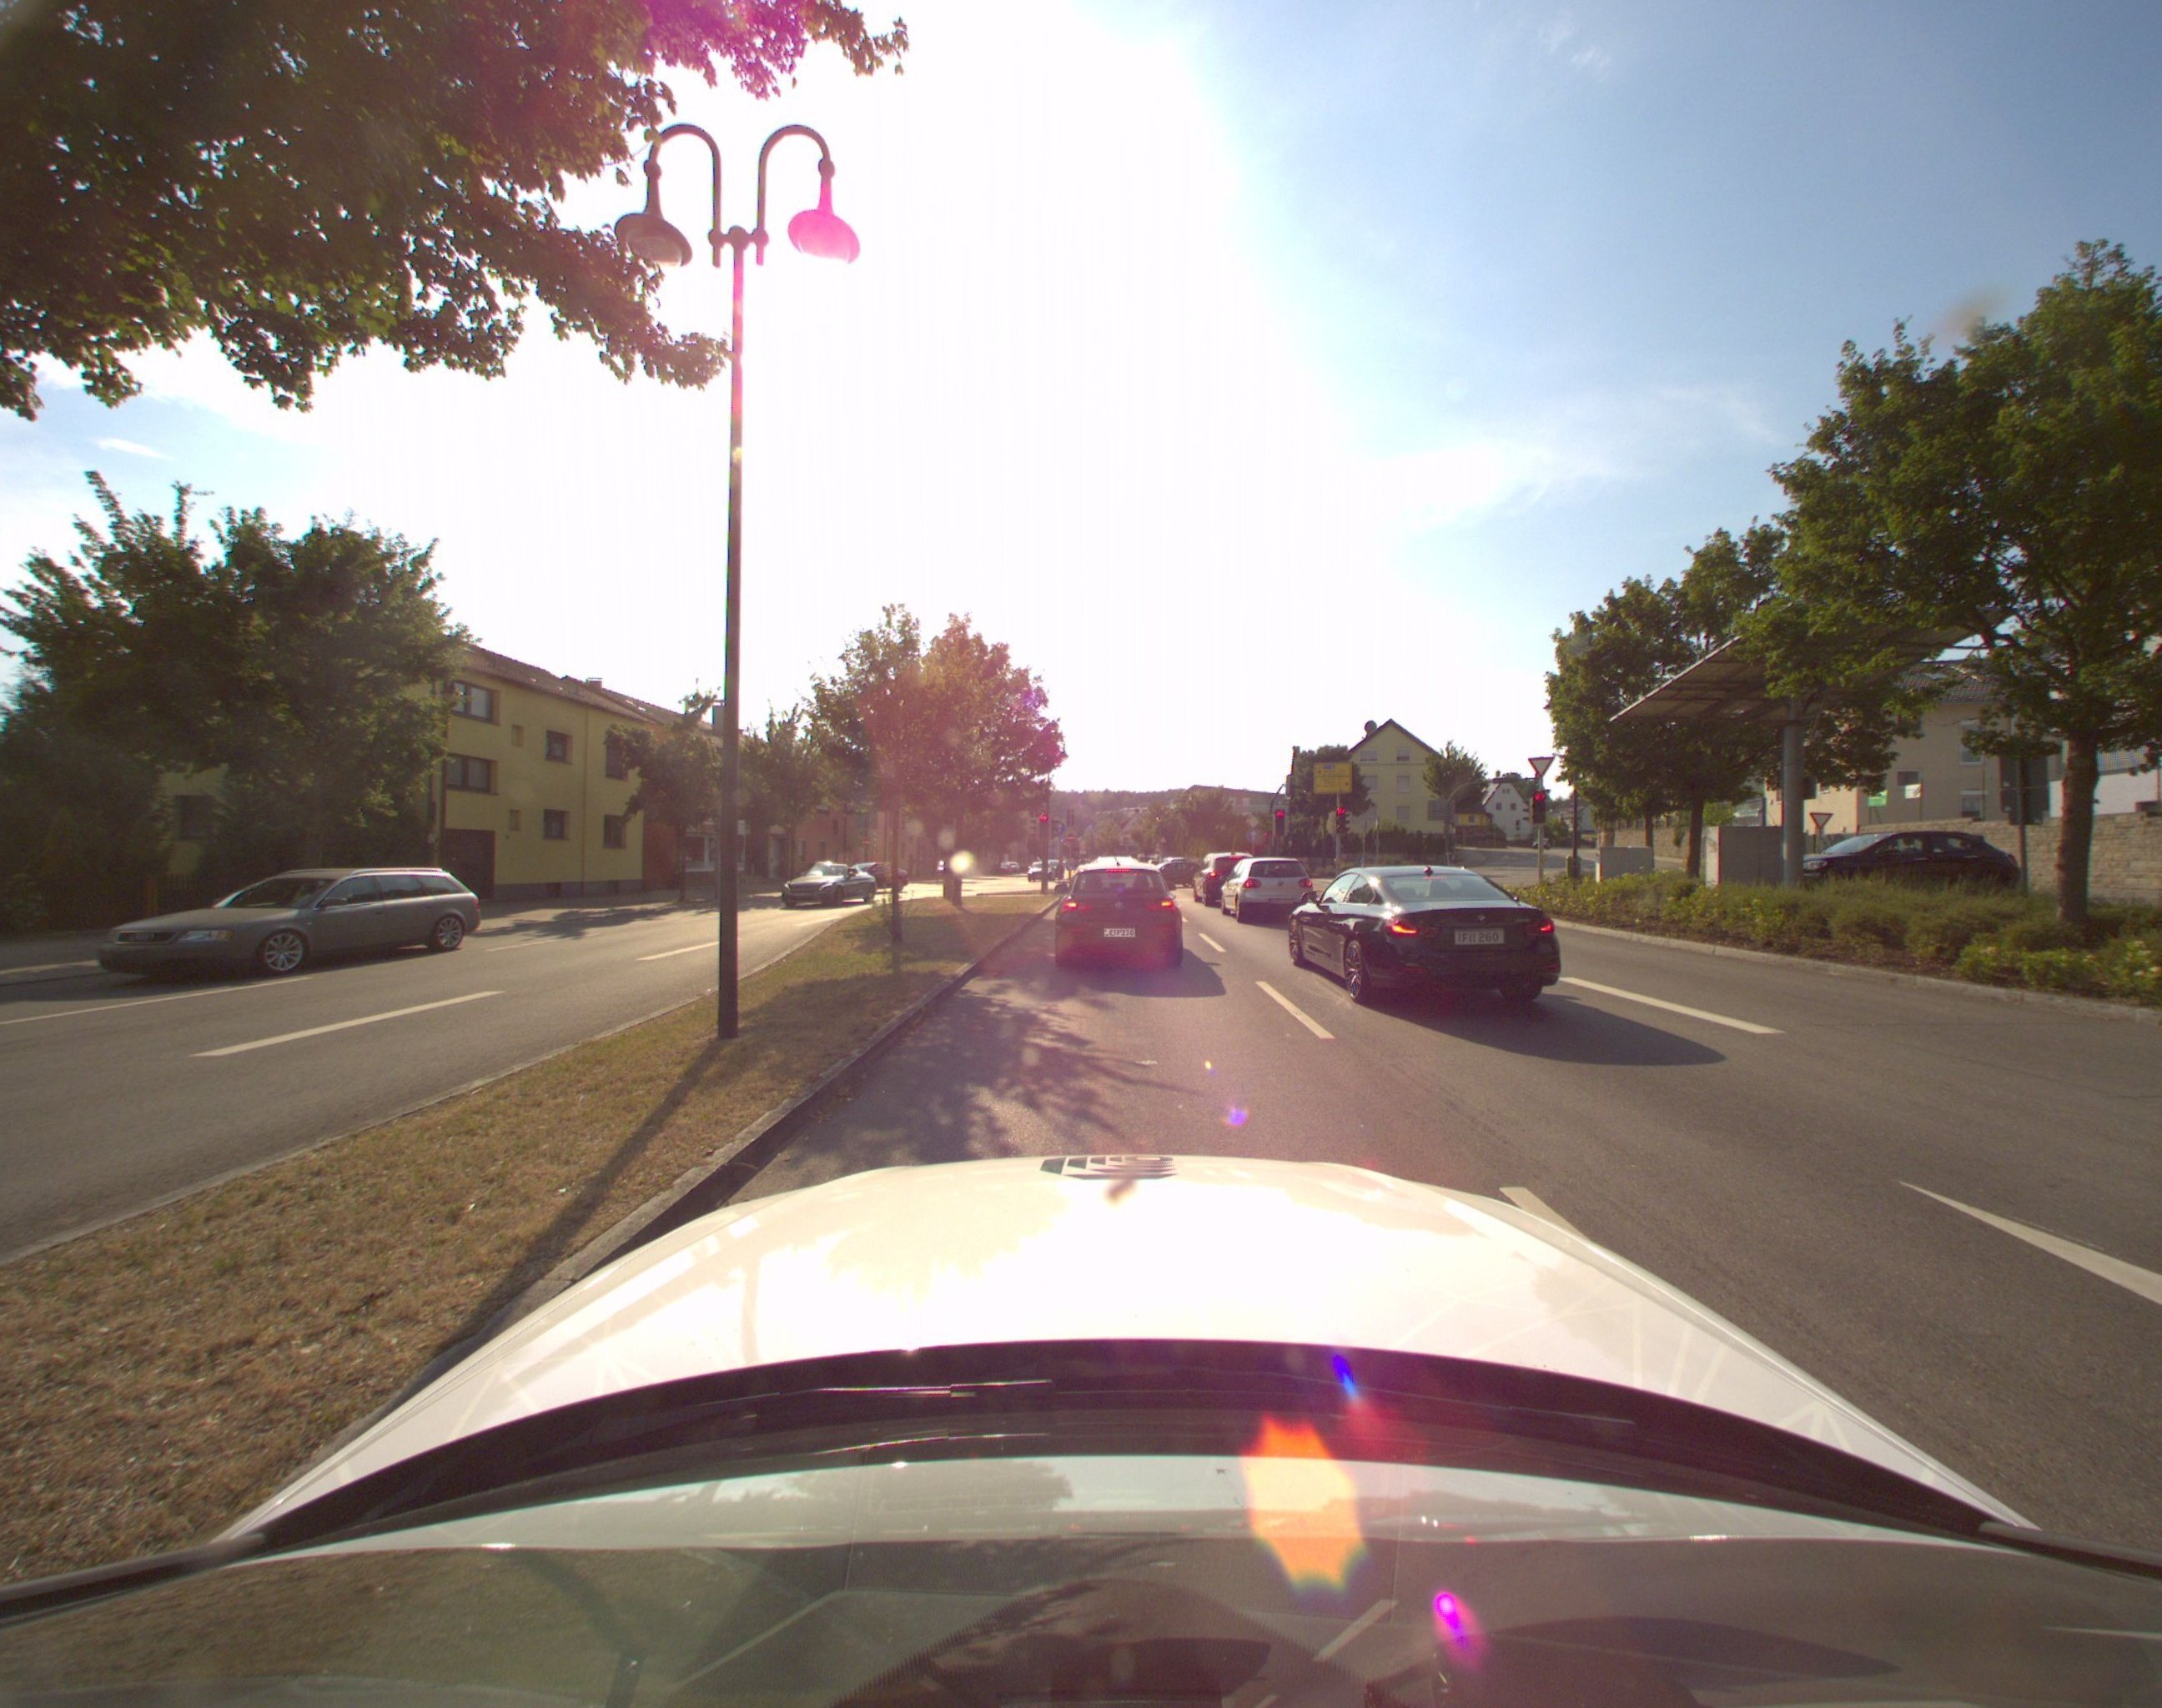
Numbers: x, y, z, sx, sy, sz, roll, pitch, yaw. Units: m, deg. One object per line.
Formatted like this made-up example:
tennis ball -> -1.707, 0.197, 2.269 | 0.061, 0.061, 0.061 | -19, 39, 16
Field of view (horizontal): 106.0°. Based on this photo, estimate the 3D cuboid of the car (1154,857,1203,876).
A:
car -> 7.790, 0.993, 65.456 | 1.870, 1.485, 4.622 | 0, 0, -24

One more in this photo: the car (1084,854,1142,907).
car -> 1.128, 0.828, 27.593 | 1.808, 1.641, 4.245 | 0, 0, 3

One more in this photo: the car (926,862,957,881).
car -> -12.532, 1.547, 73.390 | 1.916, 1.596, 4.004 | 0, 0, 3

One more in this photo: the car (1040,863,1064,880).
car -> -2.409, 1.470, 68.247 | 1.685, 1.353, 4.004 | 0, 0, 3

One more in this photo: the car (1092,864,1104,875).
car -> 2.718, 2.496, 130.546 | 1.917, 1.596, 4.001 | 0, 0, 1

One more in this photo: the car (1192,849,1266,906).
car -> 4.640, 0.708, 26.139 | 1.808, 1.666, 4.350 | 0, 0, 3

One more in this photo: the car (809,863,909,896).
car -> -10.317, 1.130, 38.173 | 1.826, 1.422, 4.672 | 0, 0, 28

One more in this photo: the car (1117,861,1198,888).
car -> 4.126, 1.096, 44.469 | 4.171, 1.386, 1.647 | 0, 0, -7

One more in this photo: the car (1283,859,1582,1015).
car -> 3.693, 0.763, 9.496 | 1.808, 1.388, 4.350 | 0, 0, 3

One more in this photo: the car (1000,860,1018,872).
car -> -9.631, 1.608, 109.046 | 1.916, 1.596, 4.004 | 0, 0, 3

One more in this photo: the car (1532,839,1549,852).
car -> 61.837, -1.129, 109.520 | 1.769, 1.506, 4.096 | 0, 4, 32

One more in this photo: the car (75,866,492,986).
car -> -11.727, 0.938, 12.588 | 1.679, 1.462, 4.714 | 0, 0, 2

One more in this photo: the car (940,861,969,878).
car -> -12.227, 1.508, 78.753 | 1.916, 1.596, 4.004 | 0, 0, 3

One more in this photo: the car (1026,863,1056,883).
car -> -2.963, 1.387, 60.704 | 1.759, 1.458, 4.004 | 0, 0, 3

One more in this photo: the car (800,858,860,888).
car -> -14.015, 1.029, 45.701 | 1.835, 1.552, 4.005 | 2, 0, 4

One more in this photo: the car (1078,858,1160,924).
car -> 0.972, 0.844, 20.398 | 1.808, 1.451, 4.245 | 0, 0, 3

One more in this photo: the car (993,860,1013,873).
car -> -9.913, 1.587, 103.543 | 1.916, 1.596, 4.004 | 0, 0, 3

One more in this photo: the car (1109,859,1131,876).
car -> 4.180, 1.436, 88.031 | 1.887, 1.702, 4.517 | -2, 0, -4

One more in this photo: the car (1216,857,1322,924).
car -> 4.431, 0.795, 19.841 | 1.808, 1.446, 4.350 | 0, 0, 3

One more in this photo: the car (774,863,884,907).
car -> -8.469, 1.008, 27.830 | 1.769, 1.349, 4.490 | 0, 0, 9

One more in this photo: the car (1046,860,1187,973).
car -> 0.577, 0.812, 12.553 | 1.783, 1.414, 4.350 | 0, 0, 3

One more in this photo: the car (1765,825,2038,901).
car -> 18.323, 0.201, 18.408 | 3.958, 1.608, 1.861 | 0, 0, 14
